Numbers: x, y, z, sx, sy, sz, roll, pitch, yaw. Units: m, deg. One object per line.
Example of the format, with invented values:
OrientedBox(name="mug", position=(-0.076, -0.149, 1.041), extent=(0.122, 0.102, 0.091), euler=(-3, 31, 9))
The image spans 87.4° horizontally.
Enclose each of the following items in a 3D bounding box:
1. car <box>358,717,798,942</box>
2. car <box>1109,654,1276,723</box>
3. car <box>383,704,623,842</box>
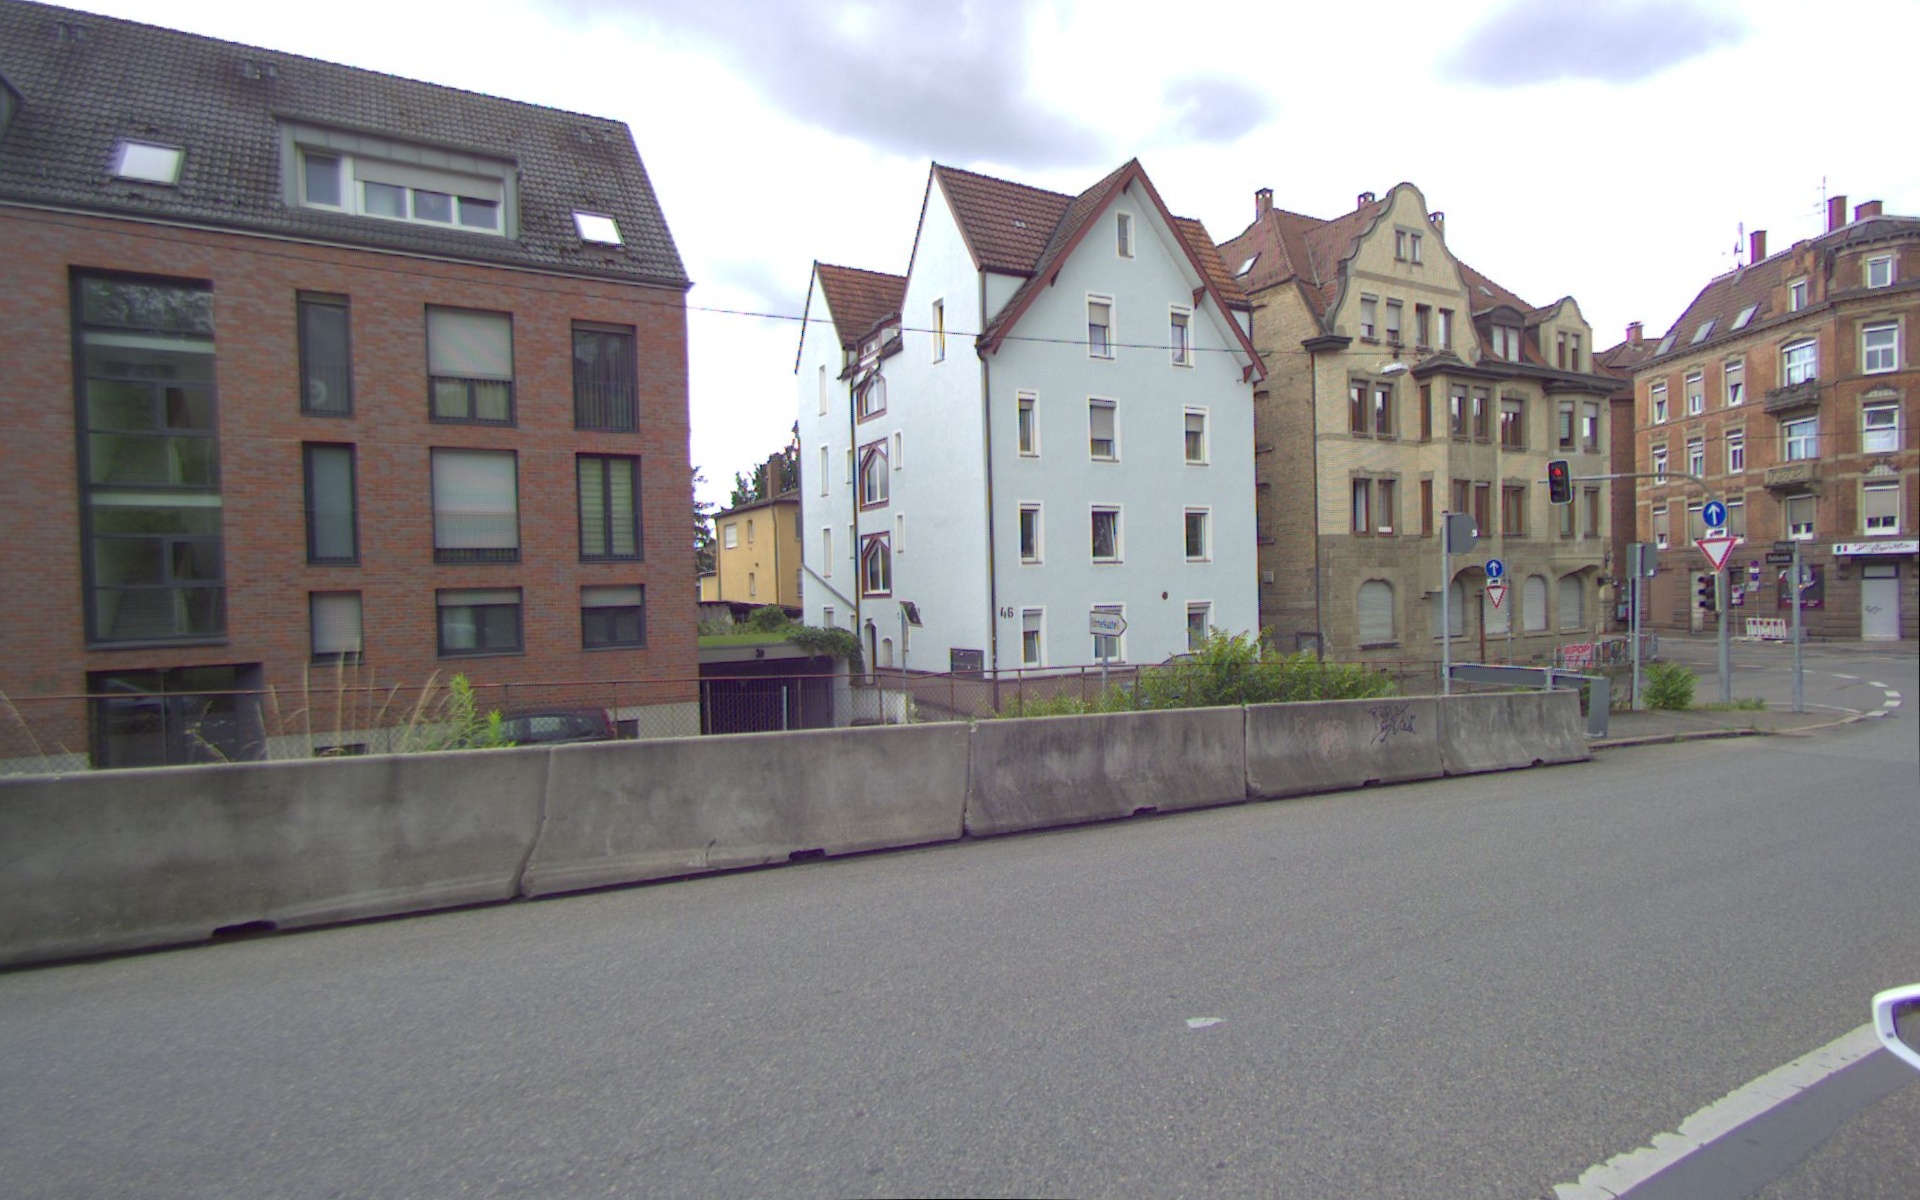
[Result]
OrientedBox(name="car", position=(-3.776, 2.132, 10.181), extent=(3.956, 1.534, 1.526), euler=(1, 0, -33))
OrientedBox(name="car", position=(5.996, 2.210, 25.766), extent=(4.185, 1.575, 1.674), euler=(1, -3, -31))
OrientedBox(name="car", position=(-8.055, 2.942, 17.773), extent=(3.722, 1.826, 1.706), euler=(0, 1, -30))
